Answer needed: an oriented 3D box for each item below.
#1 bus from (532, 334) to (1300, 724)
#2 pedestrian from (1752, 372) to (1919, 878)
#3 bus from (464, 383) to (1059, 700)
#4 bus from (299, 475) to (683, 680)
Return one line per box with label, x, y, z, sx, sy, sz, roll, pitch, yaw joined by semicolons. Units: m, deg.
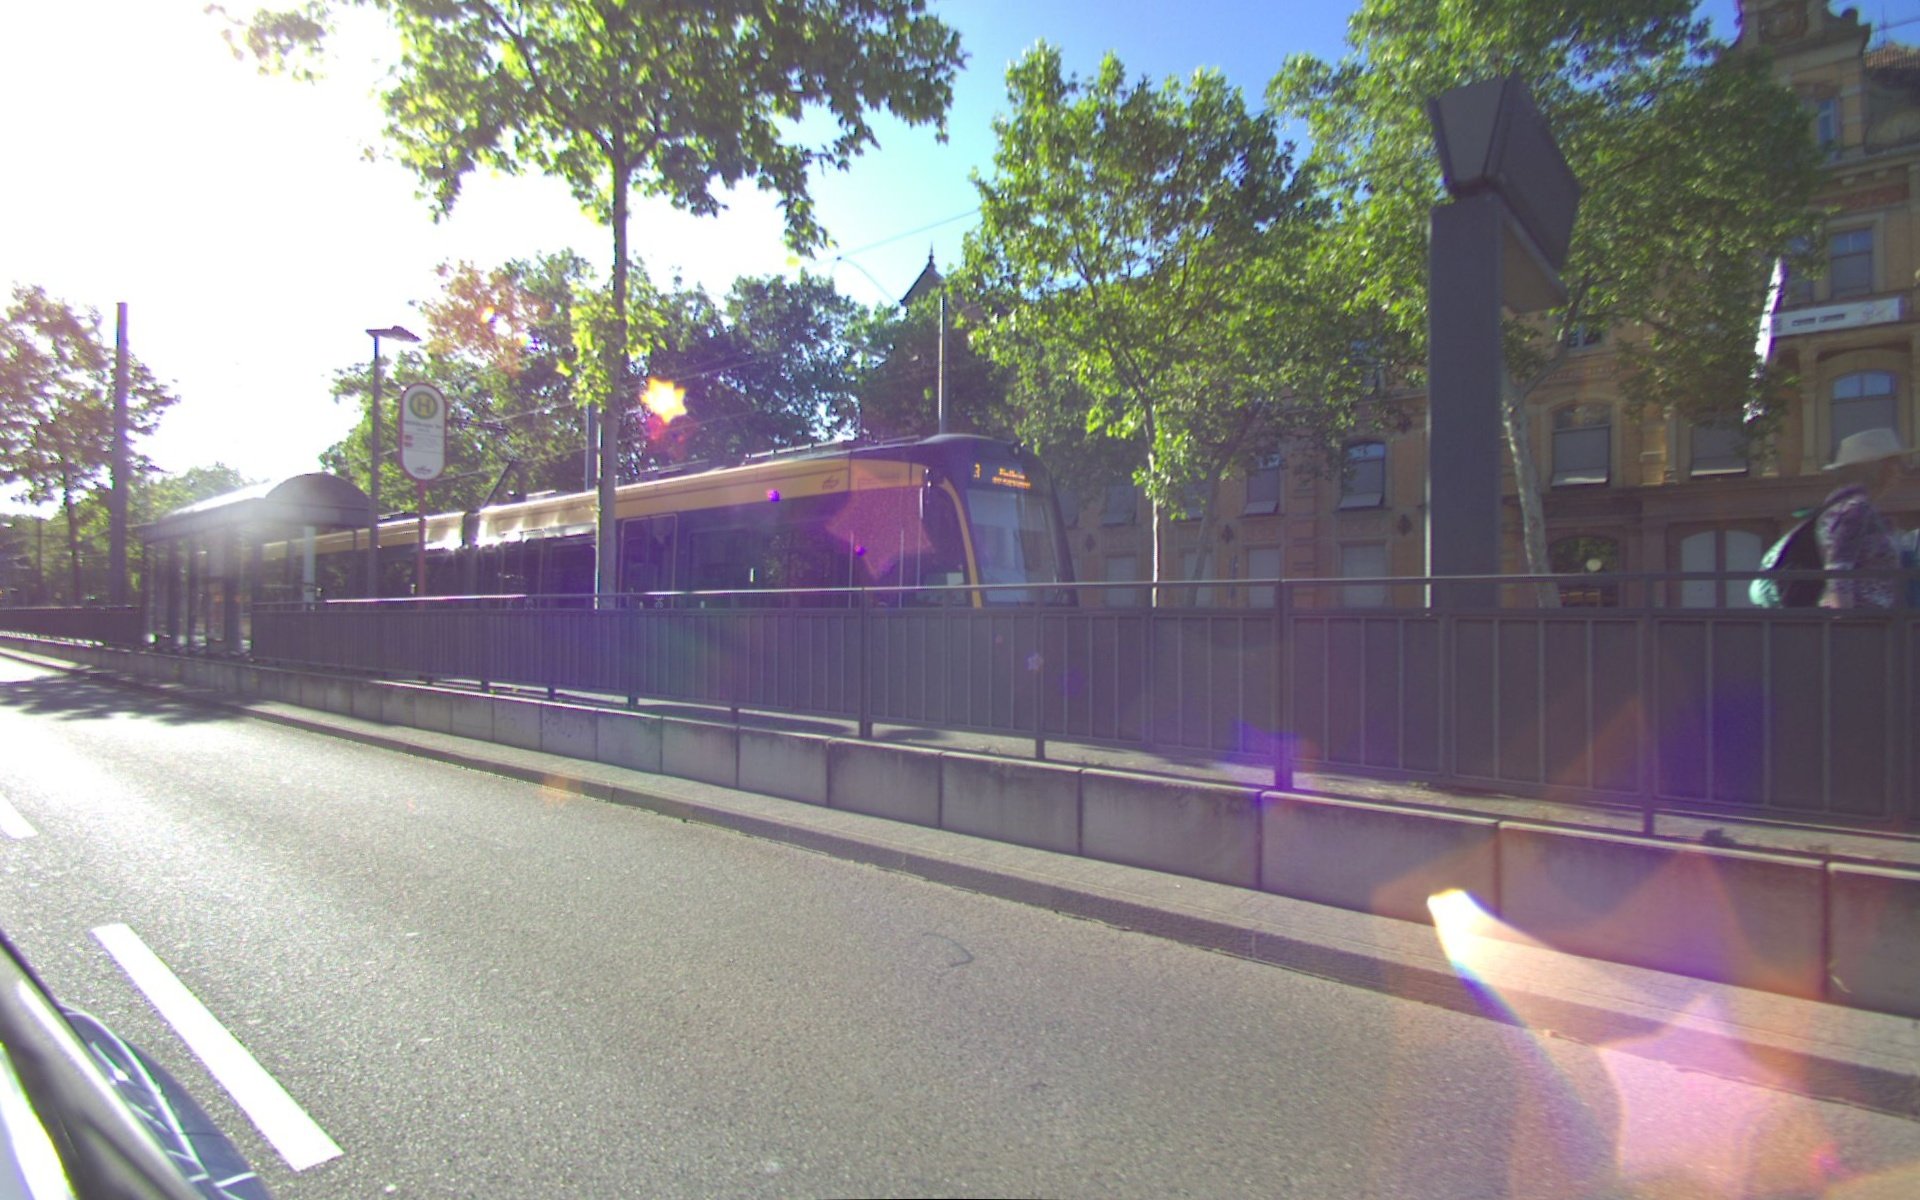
bus;-1.764;-0.485;14.132;12.210;3.470;2.838;-2;-2;42
pedestrian;3.880;0.098;4.229;0.813;1.969;0.632;-2;-1;42
bus;-3.967;-0.501;15.996;11.607;3.470;2.838;-2;-2;42
bus;-11.120;-0.222;22.644;13.212;3.470;2.838;-2;-2;42
